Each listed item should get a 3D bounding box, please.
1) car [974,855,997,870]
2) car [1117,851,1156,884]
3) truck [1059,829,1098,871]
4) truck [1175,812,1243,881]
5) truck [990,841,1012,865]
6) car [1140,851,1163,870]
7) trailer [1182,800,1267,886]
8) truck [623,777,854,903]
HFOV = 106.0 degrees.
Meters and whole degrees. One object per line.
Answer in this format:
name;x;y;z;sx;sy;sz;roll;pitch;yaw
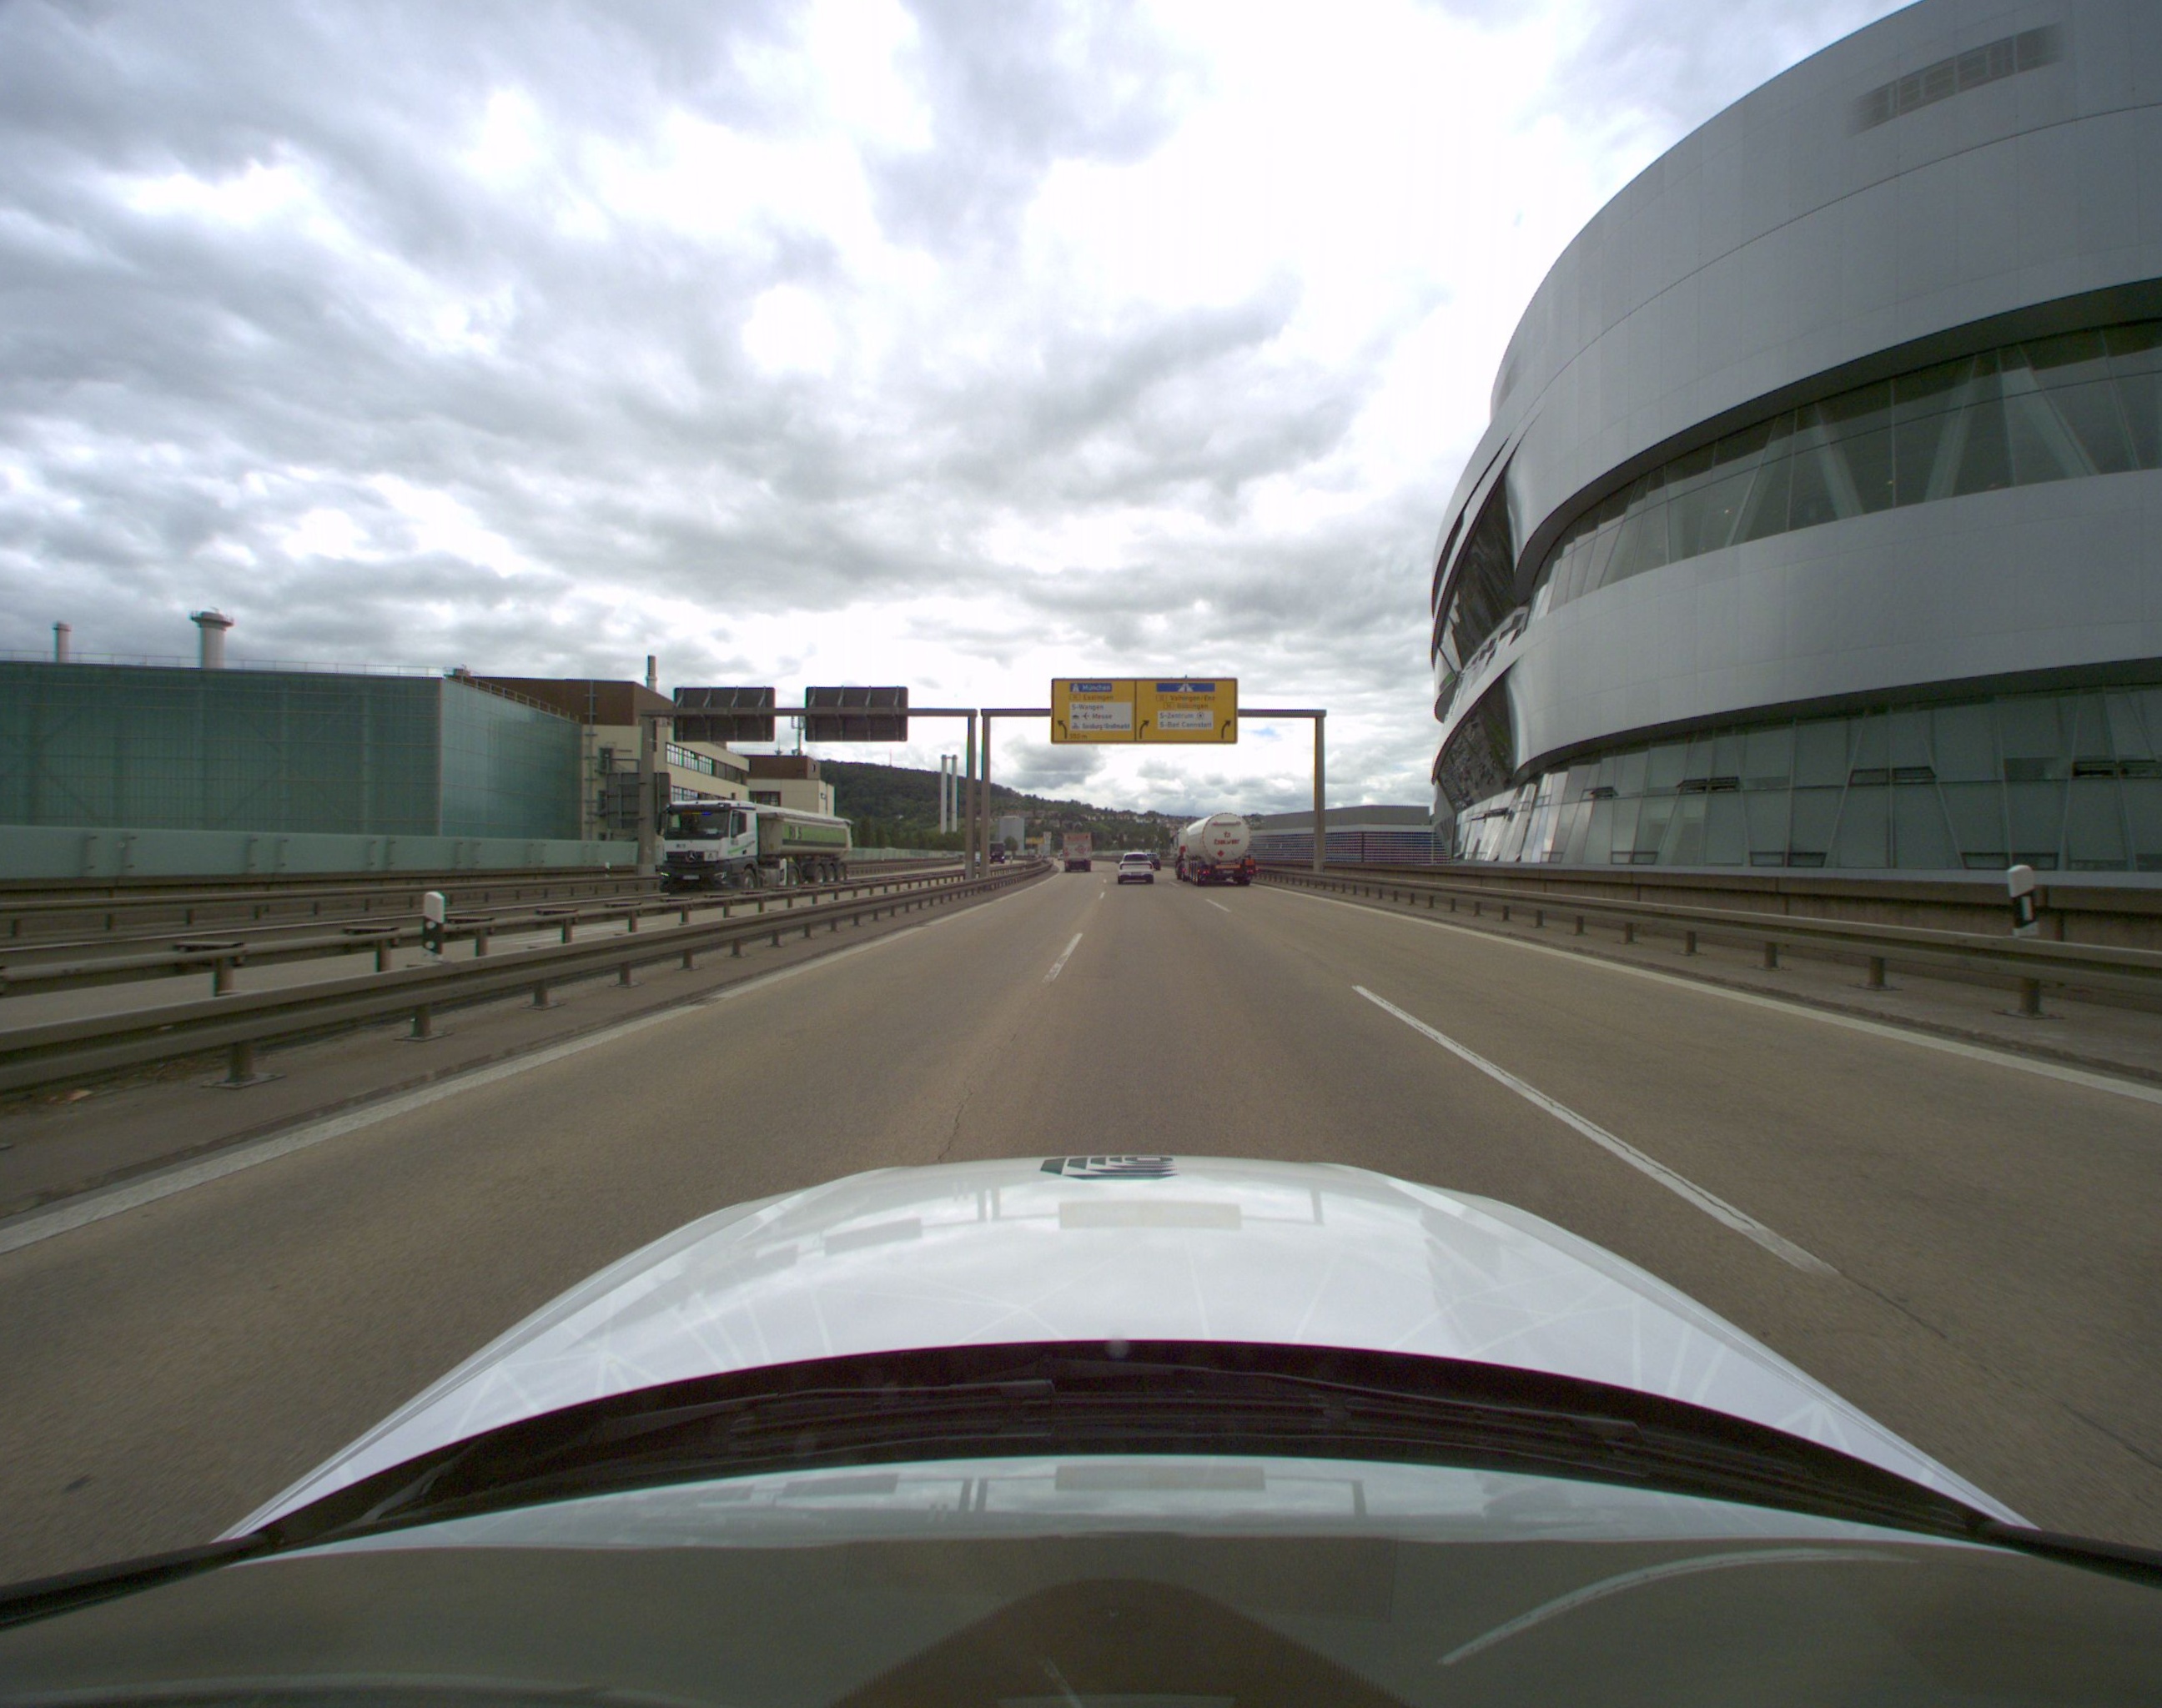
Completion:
car;-10.780;0.962;91.844;1.987;1.675;4.408;-1;-1;1
car;2.931;0.721;43.912;1.986;1.675;4.410;-1;-1;2
truck;-0.136;-0.311;76.646;3.044;3.691;8.311;-1;-1;3
truck;7.176;-0.360;46.486;3.003;3.657;6.276;-1;-1;2
truck;-13.277;-0.099;135.903;2.803;3.809;12.008;-1;-1;-2
car;6.567;0.653;76.378;1.985;1.675;4.411;-1;-1;3
trailer;6.907;-0.455;40.442;3.044;3.790;8.309;-1;-1;3
truck;-12.169;-0.348;31.027;3.045;3.776;12.524;-1;-1;2
